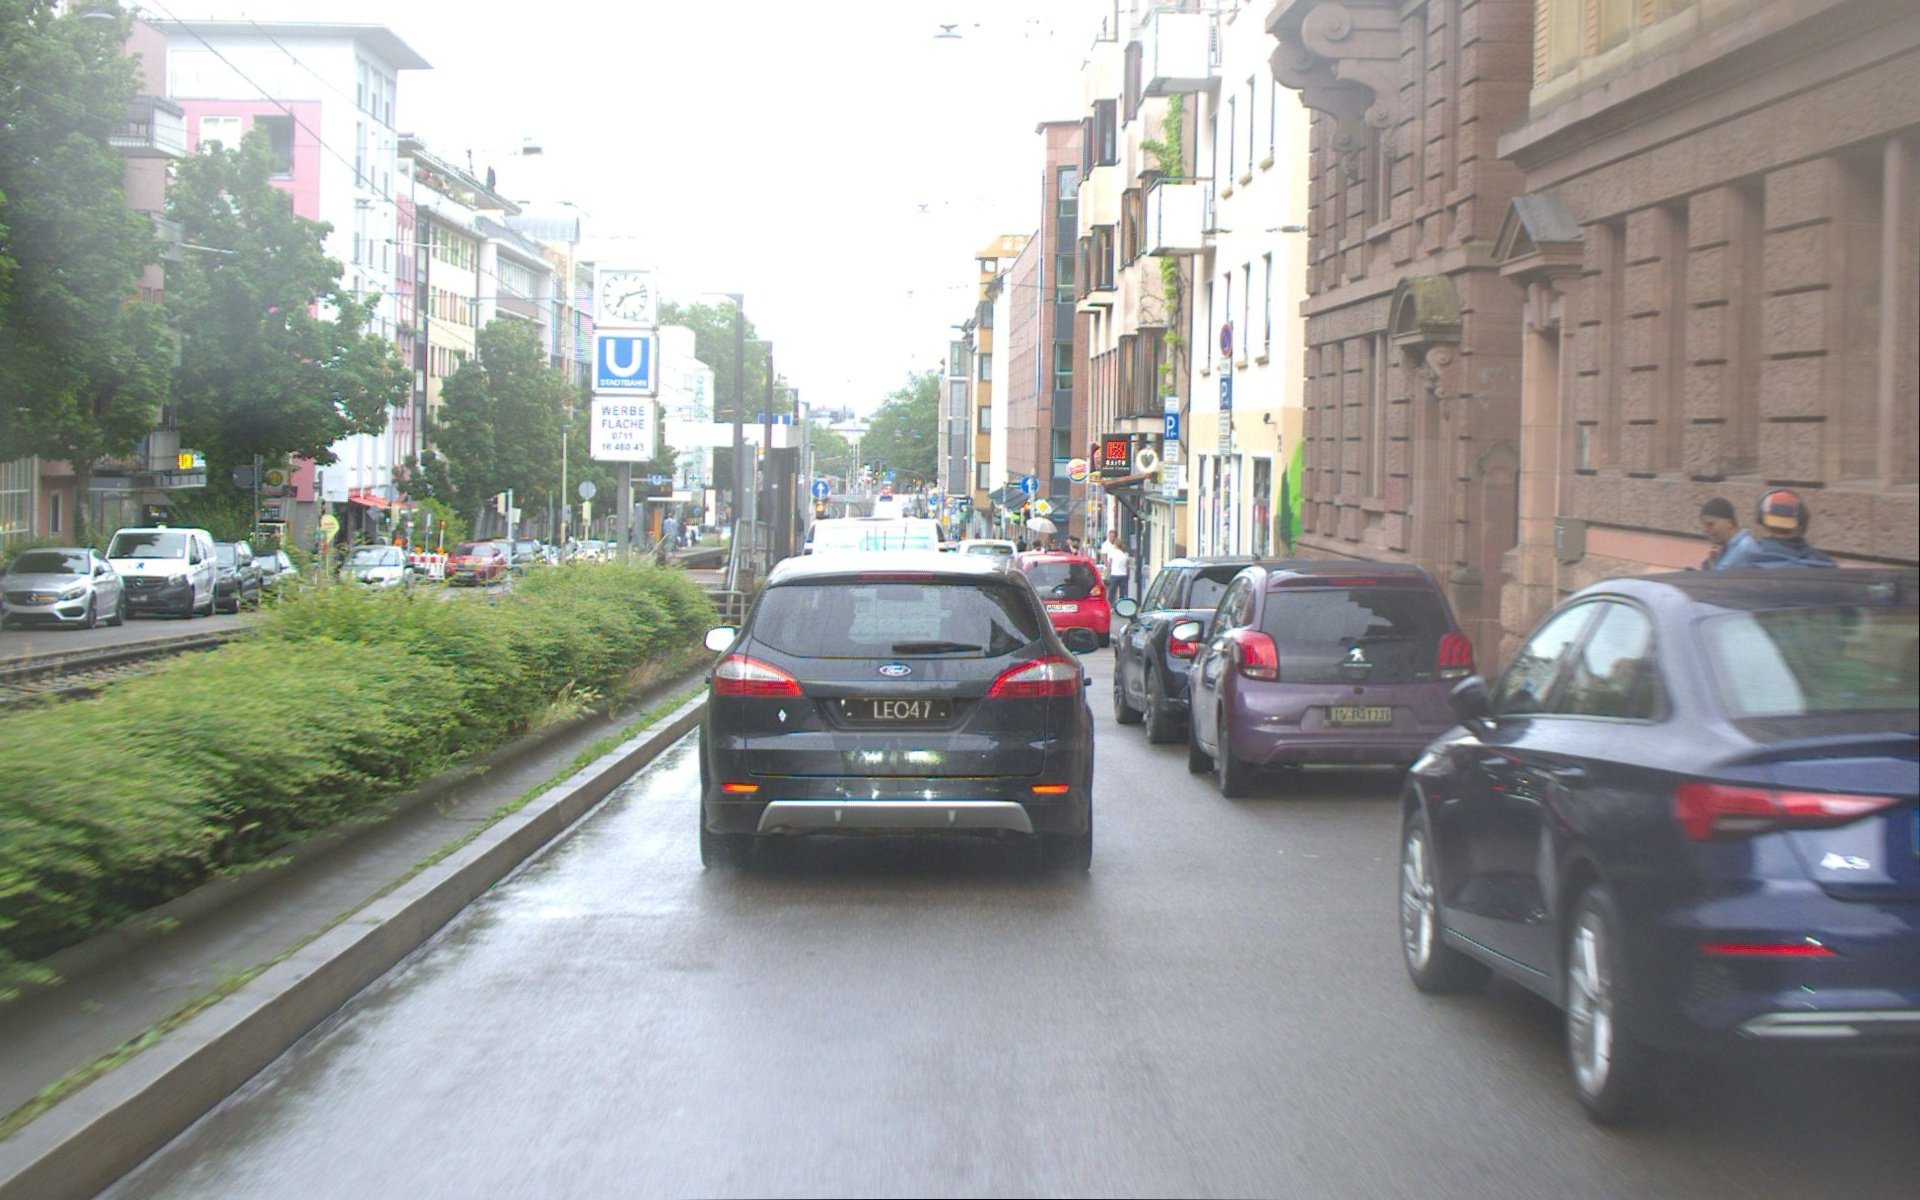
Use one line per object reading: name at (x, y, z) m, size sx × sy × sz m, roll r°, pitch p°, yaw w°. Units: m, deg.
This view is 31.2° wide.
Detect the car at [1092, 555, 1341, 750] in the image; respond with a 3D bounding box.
car at (2.009, 0.378, 27.848) m, size 1.577 × 1.455 × 3.821 m, roll 1°, pitch 0°, yaw -2°

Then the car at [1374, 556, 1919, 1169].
car at (2.410, 0.629, 10.077) m, size 1.791 × 1.402 × 4.257 m, roll 1°, pitch 0°, yaw -1°

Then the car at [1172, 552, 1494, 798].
car at (2.333, 0.433, 22.267) m, size 1.649 × 1.455 × 3.476 m, roll 1°, pitch 0°, yaw -1°

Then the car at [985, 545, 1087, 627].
car at (1.343, -0.258, 62.076) m, size 1.670 × 1.416 × 3.476 m, roll 1°, pitch 0°, yaw -1°

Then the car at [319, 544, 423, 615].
car at (-14.461, -0.484, 84.580) m, size 1.855 × 1.631 × 4.046 m, roll 2°, pitch -1°, yaw -1°

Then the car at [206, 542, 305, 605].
car at (-16.806, -0.624, 82.170) m, size 1.550 × 1.390 × 4.046 m, roll 2°, pitch -1°, yaw -1°

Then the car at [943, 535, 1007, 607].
car at (0.400, -0.775, 94.085) m, size 1.591 × 1.775 × 3.779 m, roll 3°, pitch -1°, yaw -1°

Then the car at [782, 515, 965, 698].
car at (-0.985, 0.027, 41.627) m, size 1.988 × 2.053 × 4.645 m, roll 1°, pitch 1°, yaw 1°

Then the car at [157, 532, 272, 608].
car at (-16.556, -0.642, 76.541) m, size 1.695 × 1.568 × 4.046 m, roll 2°, pitch -1°, yaw -1°

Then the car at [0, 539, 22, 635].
car at (-16.028, -0.237, 53.334) m, size 1.855 × 1.522 × 4.046 m, roll 2°, pitch -1°, yaw -1°

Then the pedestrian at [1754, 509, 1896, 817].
pedestrian at (4.546, 0.330, 18.096) m, size 0.519 × 1.574 × 0.677 m, roll -1°, pitch -1°, yaw -1°

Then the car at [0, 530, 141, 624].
car at (-15.734, -0.377, 60.555) m, size 1.668 × 1.553 × 4.046 m, roll 2°, pitch -1°, yaw -1°

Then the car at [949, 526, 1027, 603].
car at (0.693, -0.885, 87.978) m, size 1.839 × 1.775 × 3.779 m, roll 3°, pitch -1°, yaw -1°

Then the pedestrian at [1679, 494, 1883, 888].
pedestrian at (3.927, 0.410, 16.488) m, size 0.703 × 1.813 × 0.961 m, roll -1°, pitch 2°, yaw -1°

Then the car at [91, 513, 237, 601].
car at (-16.172, -0.837, 70.074) m, size 1.855 × 1.631 × 4.935 m, roll 2°, pitch -1°, yaw -1°

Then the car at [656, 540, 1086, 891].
car at (-0.490, 0.487, 16.781) m, size 1.842 × 1.502 × 4.000 m, roll 0°, pitch 0°, yaw -3°

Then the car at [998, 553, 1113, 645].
car at (1.511, -0.031, 55.530) m, size 1.670 × 1.416 × 3.476 m, roll 1°, pitch 0°, yaw -1°
